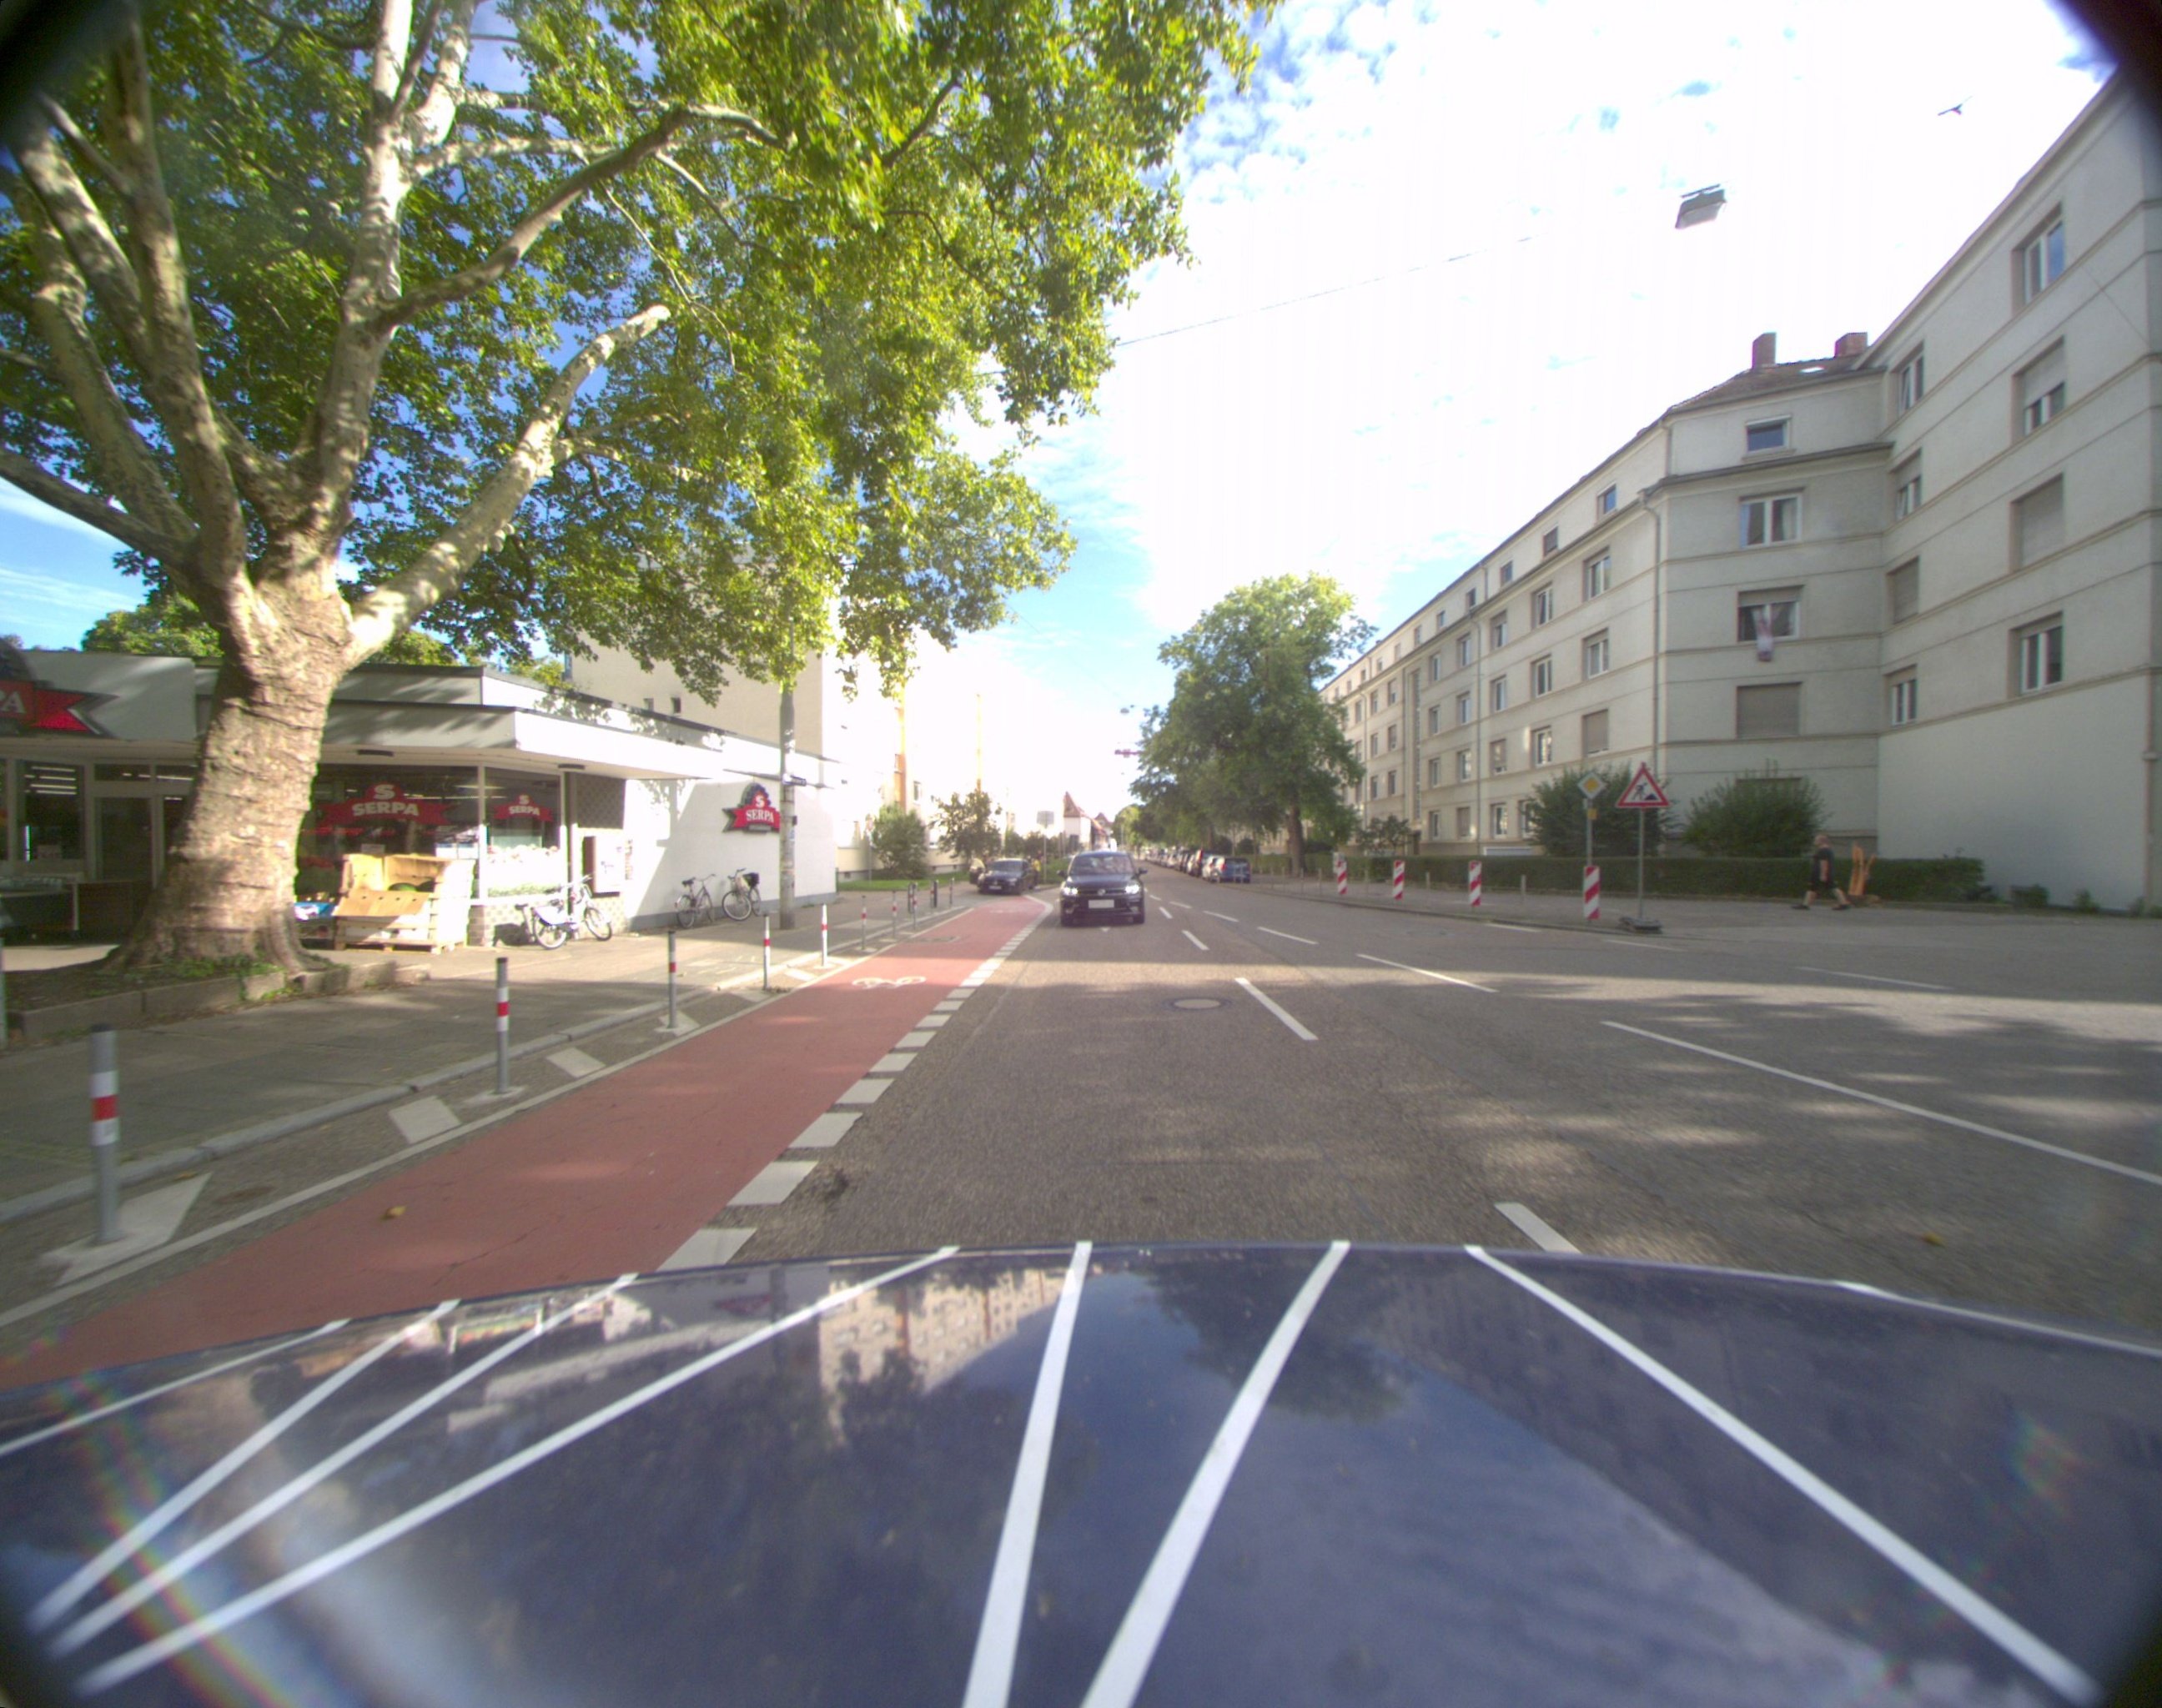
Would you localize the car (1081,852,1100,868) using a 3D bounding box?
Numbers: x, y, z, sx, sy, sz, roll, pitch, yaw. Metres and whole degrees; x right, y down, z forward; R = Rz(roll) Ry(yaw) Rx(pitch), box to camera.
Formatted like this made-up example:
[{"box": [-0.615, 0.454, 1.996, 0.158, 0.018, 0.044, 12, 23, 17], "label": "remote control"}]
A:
[{"box": [0.961, 0.564, 74.150, 1.733, 1.571, 4.117, 0, 0, 1], "label": "car"}]

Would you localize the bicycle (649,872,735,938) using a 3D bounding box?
[{"box": [-8.150, 1.044, 16.004, 0.712, 1.199, 1.771, 3, 2, 6], "label": "bicycle"}]

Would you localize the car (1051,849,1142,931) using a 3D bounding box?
[{"box": [0.423, 0.742, 17.956, 1.859, 1.673, 4.000, -1, 0, 3], "label": "car"}]

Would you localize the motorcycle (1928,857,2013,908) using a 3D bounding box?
[{"box": [21.569, 0.669, 18.469, 0.545, 1.156, 1.879, 0, 1, 23], "label": "motorcycle"}]

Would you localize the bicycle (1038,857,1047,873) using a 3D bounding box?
[{"box": [-2.850, 0.832, 56.408, 0.525, 1.128, 1.929, -1, 1, 2], "label": "bicycle"}]

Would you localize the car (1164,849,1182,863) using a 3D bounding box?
[{"box": [9.832, 0.164, 81.779, 1.618, 1.460, 4.014, 0, 0, 3], "label": "car"}]

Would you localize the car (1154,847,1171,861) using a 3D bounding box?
[{"box": [11.108, 0.004, 103.511, 1.881, 1.782, 4.971, 2, 1, 2], "label": "car"}]

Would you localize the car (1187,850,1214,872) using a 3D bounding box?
[{"box": [8.573, 0.461, 54.732, 1.698, 1.484, 4.334, 1, 0, 7], "label": "car"}]

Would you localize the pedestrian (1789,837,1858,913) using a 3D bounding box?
[{"box": [15.727, 0.428, 16.115, 0.734, 1.569, 0.732, 0, 1, -1], "label": "pedestrian"}]

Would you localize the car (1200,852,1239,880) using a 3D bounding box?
[{"box": [8.001, 0.641, 44.125, 1.803, 1.485, 3.804, 2, 1, 4], "label": "car"}]

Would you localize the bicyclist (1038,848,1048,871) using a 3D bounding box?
[{"box": [-2.840, 0.421, 56.283, 0.625, 1.668, 0.893, -1, 1, 2], "label": "bicyclist"}]

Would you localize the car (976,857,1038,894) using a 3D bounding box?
[{"box": [-3.103, 0.888, 32.611, 1.764, 1.403, 4.234, 1, 1, 7], "label": "car"}]

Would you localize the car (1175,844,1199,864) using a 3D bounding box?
[{"box": [9.493, -0.010, 68.532, 1.803, 1.658, 4.483, 2, 1, 4], "label": "car"}]

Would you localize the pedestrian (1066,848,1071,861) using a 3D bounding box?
[{"box": [-1.653, 0.053, 103.226, 0.543, 1.711, 0.772, 0, 1, 8], "label": "pedestrian"}]

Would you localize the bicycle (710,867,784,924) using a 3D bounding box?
[{"box": [-7.880, 0.951, 18.012, 0.770, 1.199, 1.816, 3, 2, 6], "label": "bicycle"}]

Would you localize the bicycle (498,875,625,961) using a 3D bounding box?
[{"box": [-8.437, 0.997, 12.440, 0.713, 1.199, 1.816, 3, 2, 5], "label": "bicycle"}]

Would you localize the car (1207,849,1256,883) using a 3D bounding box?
[{"box": [7.750, 0.579, 39.408, 1.803, 1.611, 3.803, 2, 1, 1], "label": "car"}]

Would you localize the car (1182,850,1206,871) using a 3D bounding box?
[{"box": [8.757, 0.471, 59.118, 1.556, 1.511, 3.017, 2, 1, 4], "label": "car"}]

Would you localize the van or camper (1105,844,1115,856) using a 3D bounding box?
[{"box": [6.452, -0.972, 167.886, 2.164, 2.512, 5.914, 2, 1, 3], "label": "van or camper"}]

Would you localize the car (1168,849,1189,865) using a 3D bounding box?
[{"box": [9.893, 0.297, 77.397, 1.743, 1.611, 3.994, -1, 0, 2], "label": "car"}]

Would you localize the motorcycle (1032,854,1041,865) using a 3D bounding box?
[{"box": [-4.578, 0.569, 78.304, 0.632, 1.038, 2.394, 1, 1, 2], "label": "motorcycle"}]

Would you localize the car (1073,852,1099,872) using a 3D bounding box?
[{"box": [0.420, 0.593, 60.734, 1.693, 1.519, 4.239, -2, 0, 6], "label": "car"}]

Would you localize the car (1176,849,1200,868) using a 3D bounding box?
[{"box": [8.868, 0.356, 63.084, 1.704, 1.478, 3.848, 2, 1, 4], "label": "car"}]

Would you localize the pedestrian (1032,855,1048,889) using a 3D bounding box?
[{"box": [-1.909, 0.835, 35.442, 0.654, 1.530, 0.743, 1, 1, 3], "label": "pedestrian"}]

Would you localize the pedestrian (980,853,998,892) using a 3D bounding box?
[{"box": [-3.977, 0.782, 32.920, 0.654, 1.636, 0.743, -1, 1, 3], "label": "pedestrian"}]

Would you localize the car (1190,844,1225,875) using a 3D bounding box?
[{"box": [8.212, 0.346, 49.585, 1.727, 1.871, 4.192, 1, 1, 3], "label": "car"}]

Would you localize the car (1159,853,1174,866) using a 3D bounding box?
[{"box": [10.480, 0.619, 92.853, 1.688, 1.472, 4.453, 3, 1, 6], "label": "car"}]
